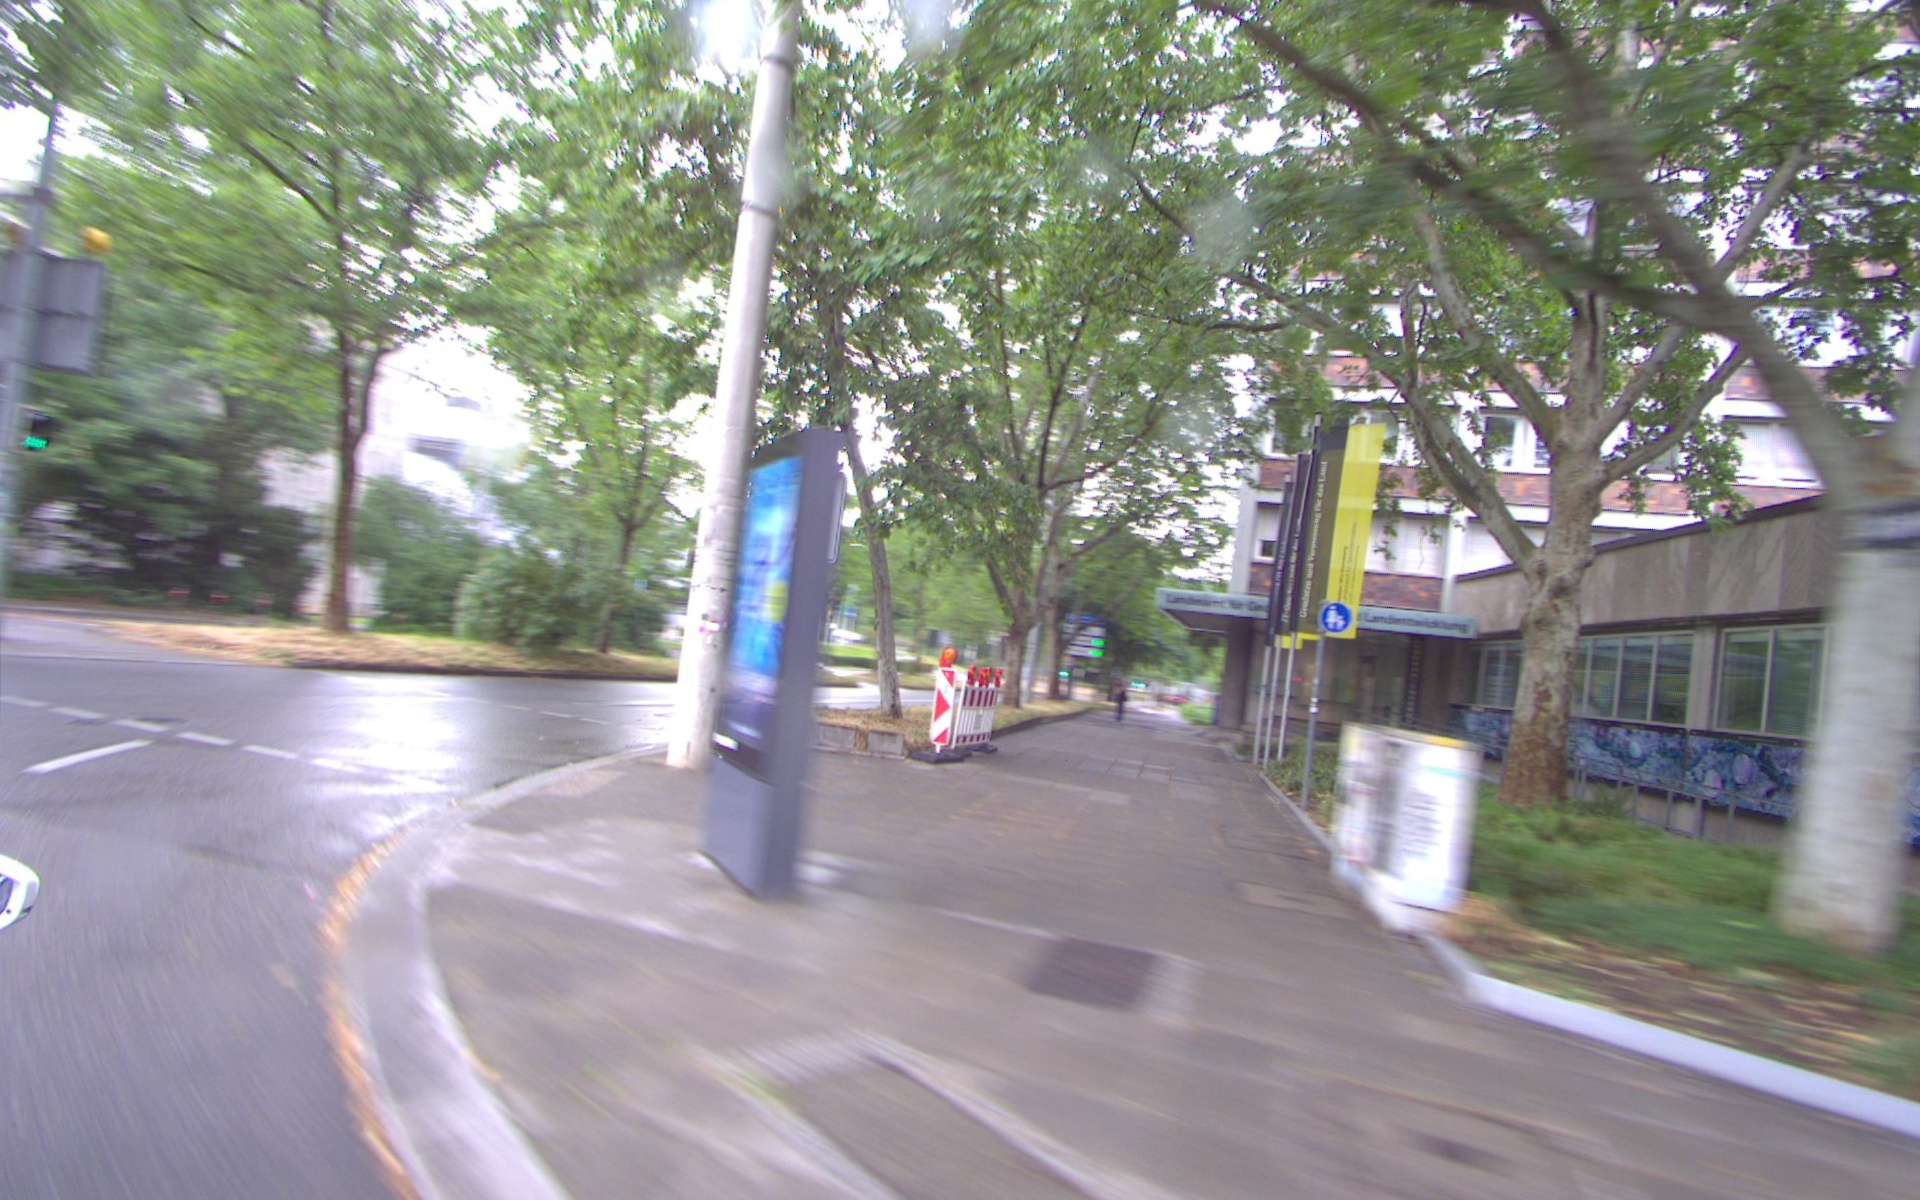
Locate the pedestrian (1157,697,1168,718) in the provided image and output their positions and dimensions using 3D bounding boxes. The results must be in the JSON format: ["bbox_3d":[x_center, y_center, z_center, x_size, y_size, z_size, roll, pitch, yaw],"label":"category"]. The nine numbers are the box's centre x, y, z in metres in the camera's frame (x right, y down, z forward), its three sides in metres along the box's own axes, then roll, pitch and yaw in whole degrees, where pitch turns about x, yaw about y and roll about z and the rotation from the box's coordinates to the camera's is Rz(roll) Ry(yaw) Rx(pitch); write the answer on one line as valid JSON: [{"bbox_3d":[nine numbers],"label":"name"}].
[{"bbox_3d":[16.694,8.840,82.944,0.692,1.656,0.936,7,-3,11],"label":"pedestrian"}]

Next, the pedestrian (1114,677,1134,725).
[{"bbox_3d":[5.981,3.685,36.661,0.512,1.656,0.936,7,-3,11],"label":"pedestrian"}]
